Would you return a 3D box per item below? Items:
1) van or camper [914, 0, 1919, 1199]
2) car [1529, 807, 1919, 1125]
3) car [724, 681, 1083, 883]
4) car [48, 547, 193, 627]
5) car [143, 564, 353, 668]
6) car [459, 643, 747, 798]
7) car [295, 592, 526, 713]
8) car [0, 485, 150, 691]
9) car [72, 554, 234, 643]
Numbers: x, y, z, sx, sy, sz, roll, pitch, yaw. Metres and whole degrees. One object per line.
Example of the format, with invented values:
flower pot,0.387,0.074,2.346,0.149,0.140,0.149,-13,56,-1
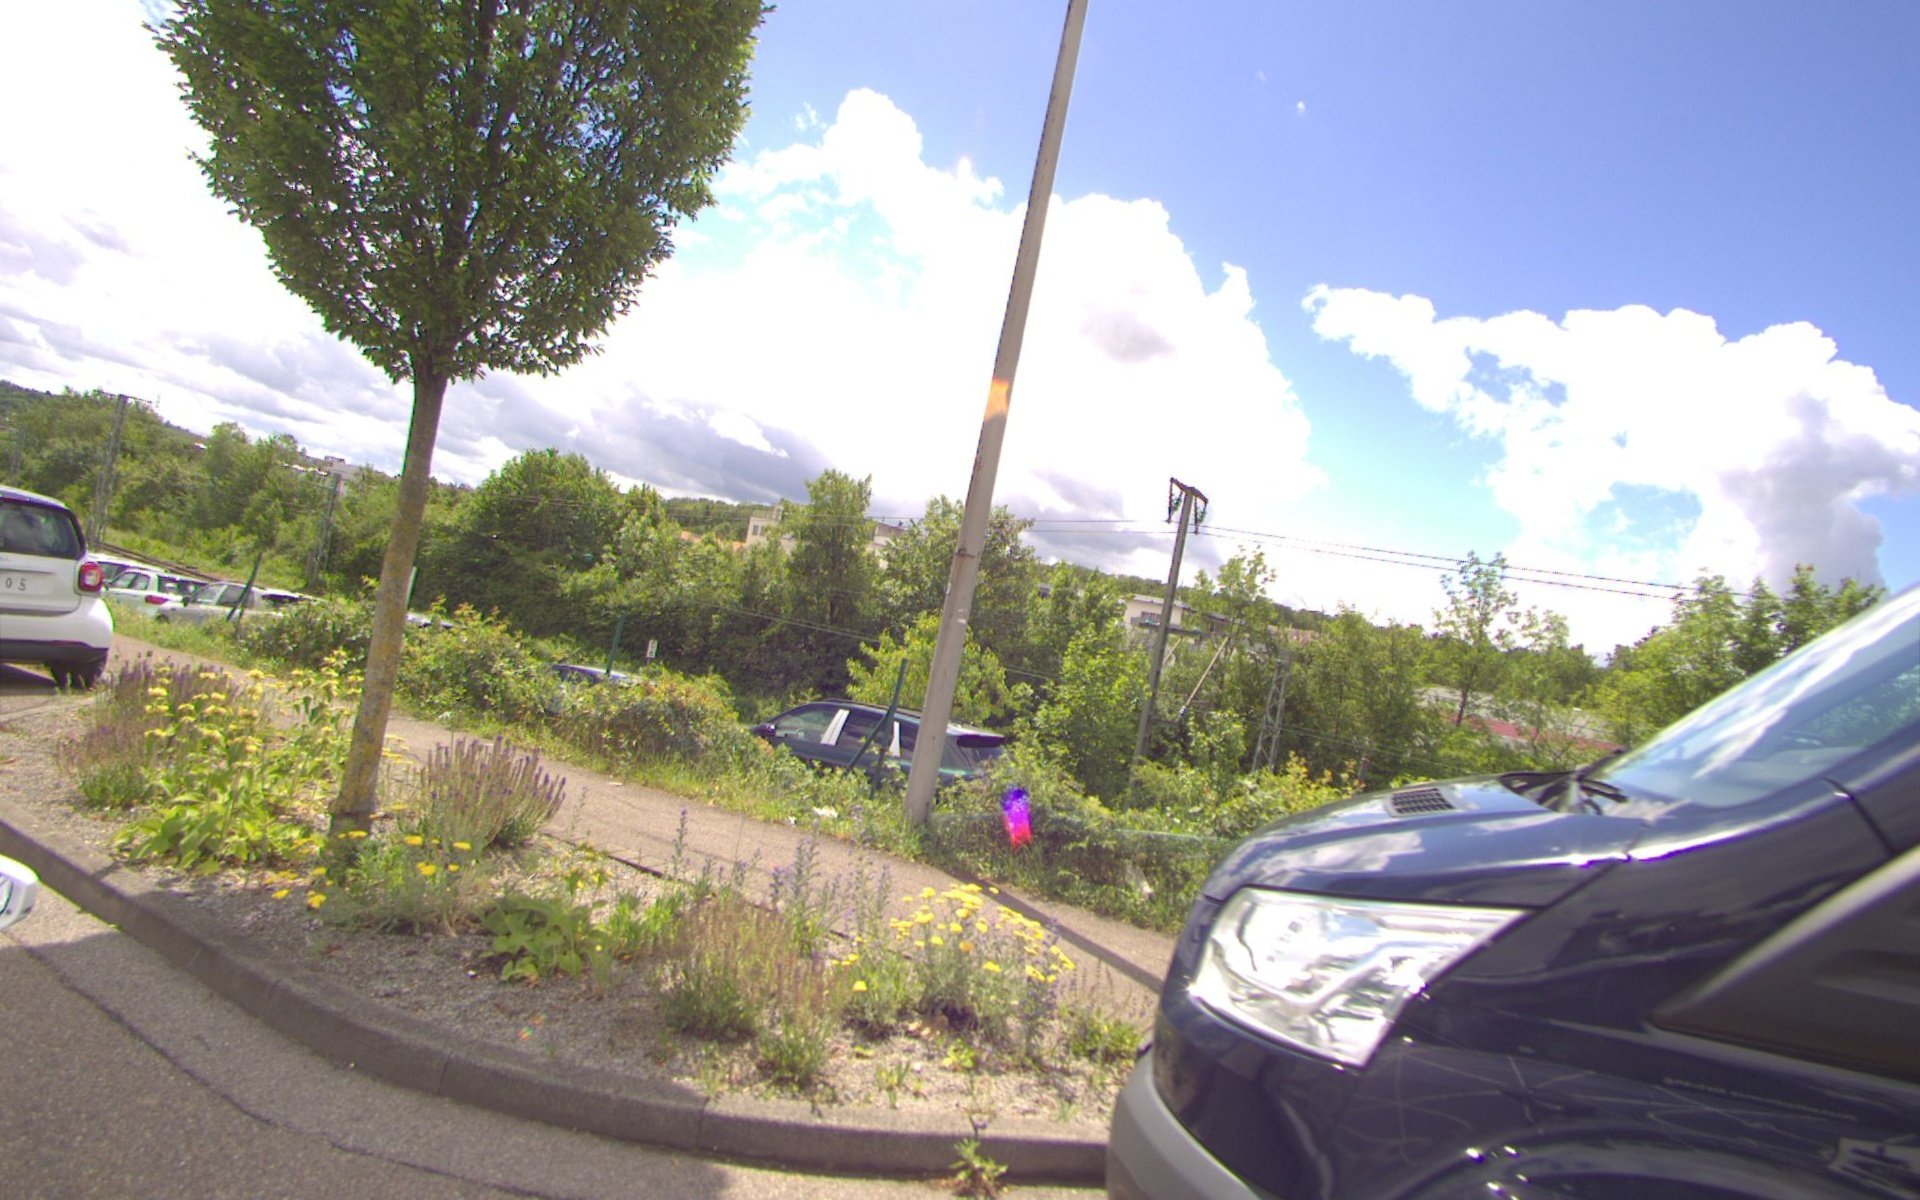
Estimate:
van or camper,3.028,0.635,1.062,5.818,2.614,2.129,7,-2,31
car,6.496,2.769,7.621,3.634,1.526,1.711,8,-3,31
car,-0.716,2.022,12.064,3.813,1.524,1.796,7,-1,30
car,-21.195,-0.341,25.377,3.518,1.524,1.623,7,0,30
car,-14.682,0.310,20.687,4.366,1.524,1.796,7,-1,30
car,-5.240,1.664,14.687,3.813,1.524,1.796,7,-1,30
car,-9.600,0.892,17.515,3.813,1.524,1.690,7,0,30
car,-8.343,-0.239,8.084,2.856,1.524,1.797,7,0,29
car,-18.432,-0.036,22.957,3.518,1.524,1.623,7,0,30
